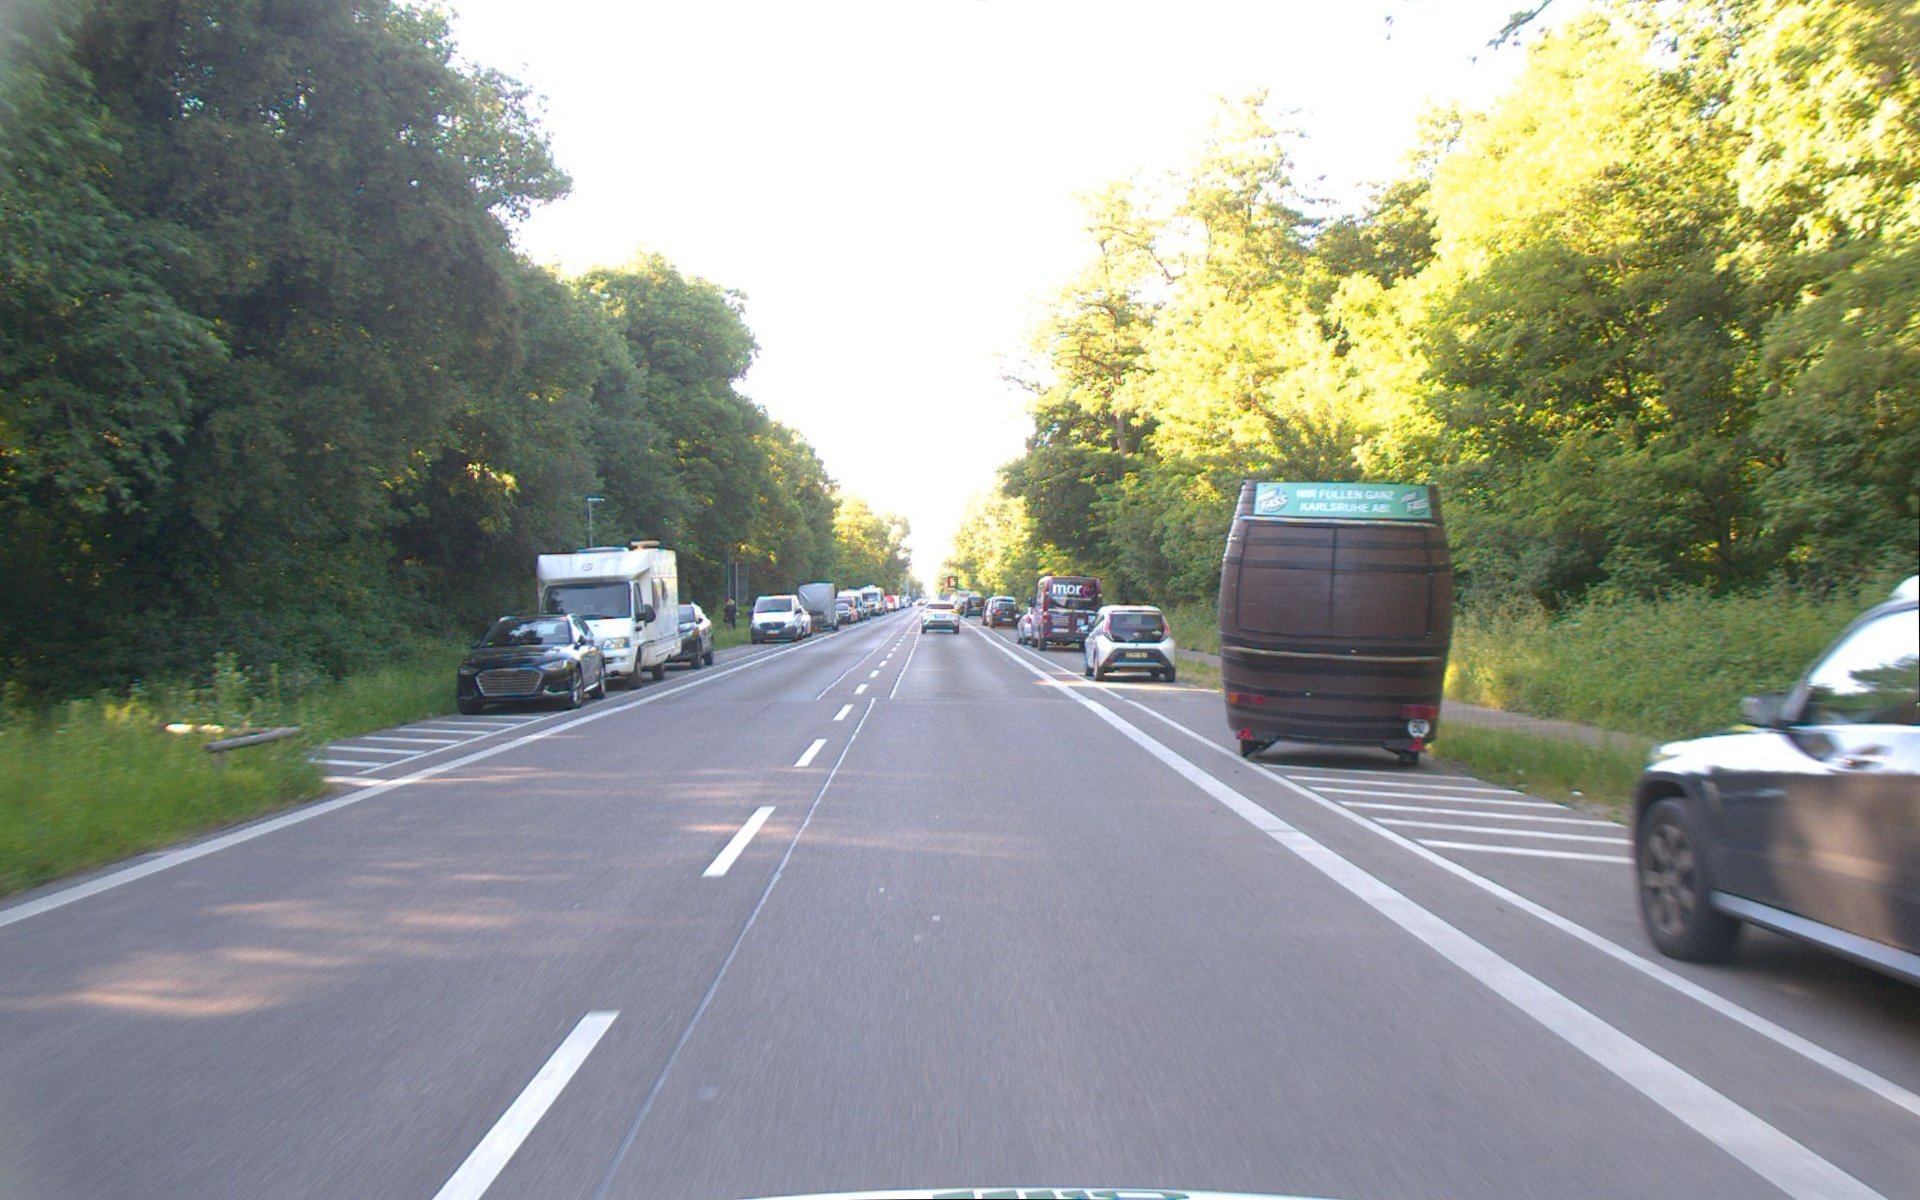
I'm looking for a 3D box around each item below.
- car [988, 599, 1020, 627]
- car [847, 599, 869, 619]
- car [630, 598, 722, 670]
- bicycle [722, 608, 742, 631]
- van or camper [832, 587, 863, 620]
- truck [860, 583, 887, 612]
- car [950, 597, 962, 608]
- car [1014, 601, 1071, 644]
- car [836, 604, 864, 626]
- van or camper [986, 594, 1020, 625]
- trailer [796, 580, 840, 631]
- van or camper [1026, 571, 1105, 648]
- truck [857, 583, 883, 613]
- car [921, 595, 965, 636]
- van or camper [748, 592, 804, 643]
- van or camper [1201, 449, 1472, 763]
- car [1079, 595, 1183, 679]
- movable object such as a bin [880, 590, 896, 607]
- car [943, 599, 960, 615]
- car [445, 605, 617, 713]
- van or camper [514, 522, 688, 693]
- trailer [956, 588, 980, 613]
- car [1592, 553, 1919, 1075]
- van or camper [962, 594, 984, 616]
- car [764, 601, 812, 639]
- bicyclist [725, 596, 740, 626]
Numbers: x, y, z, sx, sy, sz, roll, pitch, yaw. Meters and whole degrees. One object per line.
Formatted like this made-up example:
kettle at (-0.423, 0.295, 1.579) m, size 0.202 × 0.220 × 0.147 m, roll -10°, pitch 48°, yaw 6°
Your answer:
car at (2.516, 0.728, 94.889) m, size 1.656 × 1.551 × 4.148 m, roll 1°, pitch 0°, yaw -1°
car at (-9.087, 0.818, 147.586) m, size 1.745 × 1.713 × 4.377 m, roll -2°, pitch 0°, yaw -1°
car at (-7.191, 0.821, 42.240) m, size 1.612 × 1.660 × 4.272 m, roll -3°, pitch 0°, yaw -1°
bicycle at (-10.414, 0.898, 75.629) m, size 0.638 × 1.026 × 2.396 m, roll 0°, pitch 0°, yaw -1°
van or camper at (-9.255, 0.319, 136.629) m, size 2.077 × 2.617 × 6.541 m, roll -1°, pitch 0°, yaw -1°
truck at (-9.615, -0.221, 183.624) m, size 2.652 × 3.148 × 7.987 m, roll 0°, pitch 0°, yaw -1°
car at (-0.548, 0.390, 235.371) m, size 1.622 × 1.504 × 3.753 m, roll -1°, pitch 0°, yaw -1°
car at (3.036, 0.808, 61.585) m, size 1.712 × 1.542 × 3.998 m, roll 0°, pitch 0°, yaw -3°
car at (-7.810, 1.042, 117.556) m, size 1.696 × 1.504 × 4.323 m, roll -2°, pitch 0°, yaw -1°
van or camper at (2.615, 0.572, 101.559) m, size 1.911 × 1.847 × 4.380 m, roll 0°, pitch 0°, yaw -1°
trailer at (-7.774, 0.297, 90.798) m, size 1.953 × 2.643 × 4.415 m, roll -3°, pitch 0°, yaw -1°
van or camper at (3.430, 0.281, 54.861) m, size 1.994 × 2.352 × 6.038 m, roll -1°, pitch 0°, yaw -2°
truck at (-10.553, -0.243, 195.139) m, size 2.652 × 3.406 × 10.921 m, roll 0°, pitch 0°, yaw -1°
car at (-0.815, 0.699, 78.549) m, size 1.987 × 1.872 × 4.028 m, roll -1°, pitch 0°, yaw -1°
van or camper at (-7.540, 0.694, 68.143) m, size 1.798 × 1.945 × 4.854 m, roll -2°, pitch 0°, yaw -2°
van or camper at (4.142, 0.006, 18.463) m, size 2.389 × 2.848 × 6.562 m, roll 1°, pitch 1°, yaw 12°
car at (3.430, 0.708, 33.837) m, size 1.677 × 1.572 × 4.022 m, roll 2°, pitch 0°, yaw 0°
movable object such as a bin at (-10.541, -0.235, 242.820) m, size 2.275 × 2.545 × 3.999 m, roll -1°, pitch 0°, yaw -1°
car at (-0.914, 0.759, 177.620) m, size 1.803 × 1.691 × 3.999 m, roll 0°, pitch 0°, yaw 0°
car at (-6.764, 0.871, 26.569) m, size 1.791 × 1.501 × 4.677 m, roll -2°, pitch 0°, yaw -4°
van or camper at (-7.148, 0.130, 33.818) m, size 2.269 × 3.021 × 7.106 m, roll -3°, pitch 0°, yaw -3°
trailer at (0.920, 0.016, 199.815) m, size 2.701 × 2.920 × 6.587 m, roll -1°, pitch 0°, yaw -1°
car at (3.968, 0.714, 5.882) m, size 1.677 × 1.694 × 4.551 m, roll 2°, pitch 0°, yaw 0°
van or camper at (1.219, 0.490, 154.696) m, size 1.953 × 1.966 × 5.198 m, roll 1°, pitch 0°, yaw -1°
car at (-7.727, 0.883, 74.803) m, size 1.738 × 1.567 × 4.523 m, roll -2°, pitch 0°, yaw -1°
bicyclist at (-10.405, 0.499, 75.739) m, size 0.592 × 1.398 × 0.799 m, roll 0°, pitch 0°, yaw -1°
